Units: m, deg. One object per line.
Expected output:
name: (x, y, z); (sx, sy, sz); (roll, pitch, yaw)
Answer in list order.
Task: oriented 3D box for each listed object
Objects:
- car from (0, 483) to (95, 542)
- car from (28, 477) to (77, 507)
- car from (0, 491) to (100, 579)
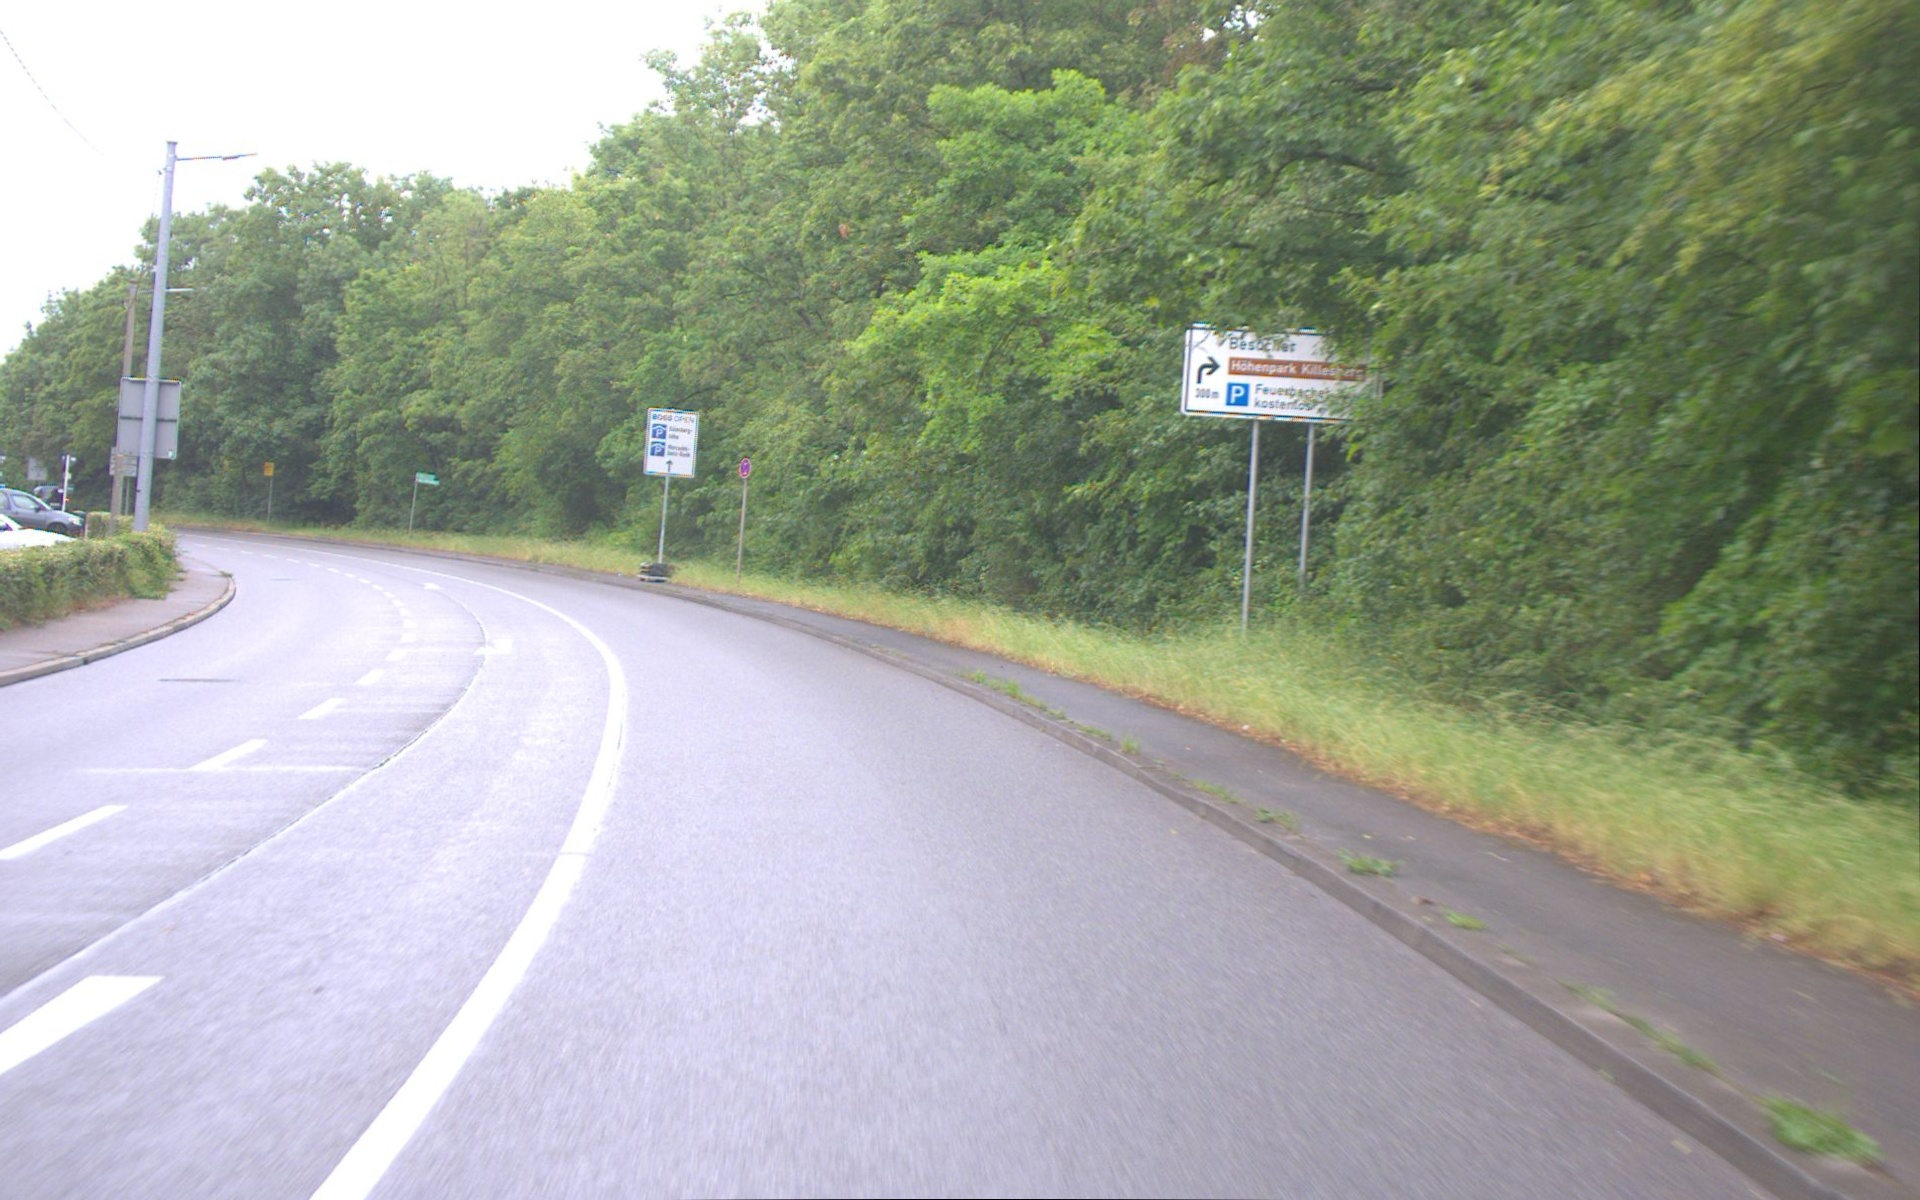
car: (-29.291, -2.758, 107.401); (4.289, 1.702, 2.001); (2, 1, -13)
car: (-47.687, -5.674, 180.605); (1.934, 1.493, 4.319); (2, 1, -22)
car: (-18.034, -1.249, 62.426); (4.573, 1.501, 2.001); (2, 1, -16)
